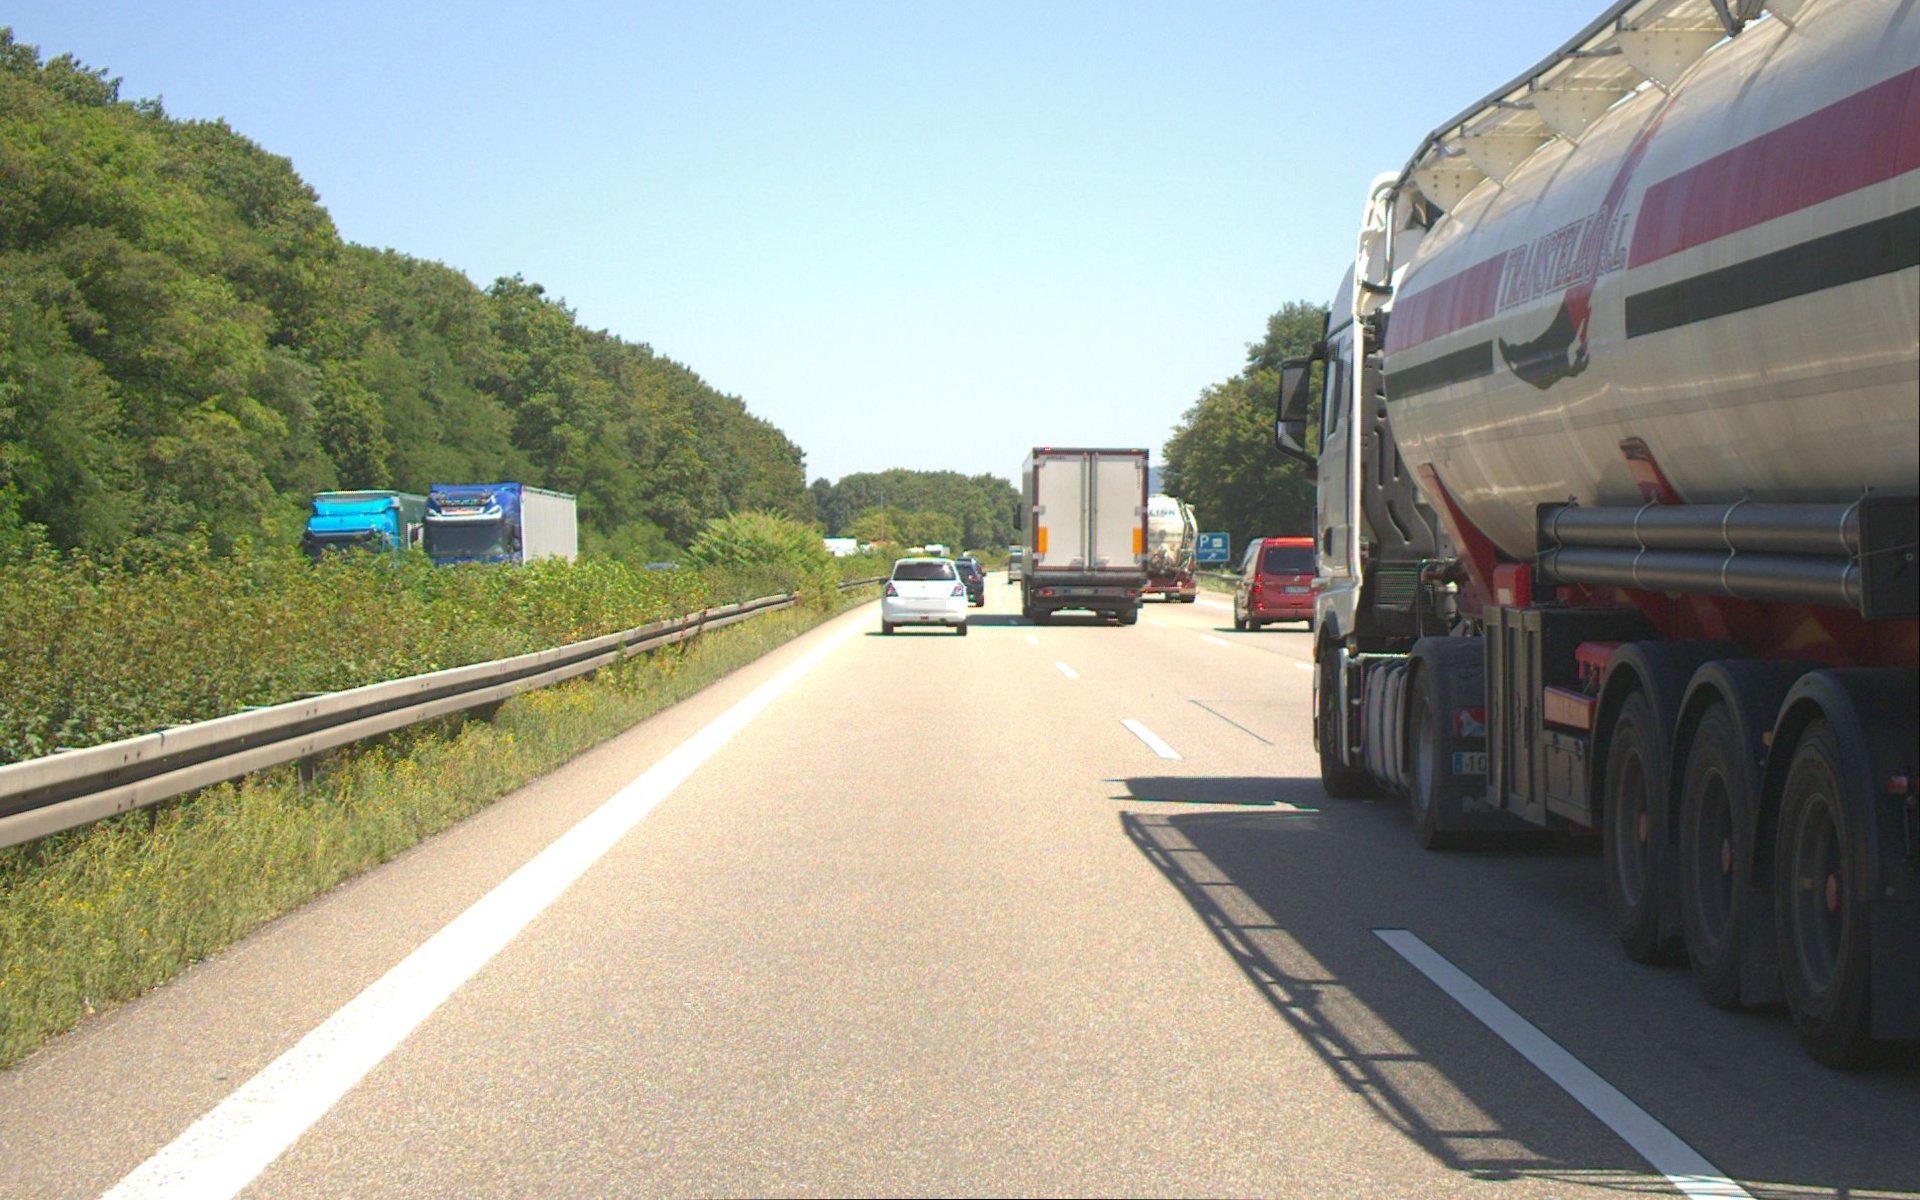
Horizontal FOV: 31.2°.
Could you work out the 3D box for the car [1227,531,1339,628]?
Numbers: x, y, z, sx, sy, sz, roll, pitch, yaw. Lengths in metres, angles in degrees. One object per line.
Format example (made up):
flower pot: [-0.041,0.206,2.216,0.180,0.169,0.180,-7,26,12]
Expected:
car: [6.957,-0.470,74.433,1.856,1.996,5.522,1,1,0]

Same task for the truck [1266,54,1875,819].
truck: [3.584,-0.938,21.409,2.790,4.190,5.000,0,1,-1]

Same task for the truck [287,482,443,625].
truck: [-17.954,-1.425,104.428,3.013,4.100,10.001,0,1,0]

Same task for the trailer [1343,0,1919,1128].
trailer: [3.739,-0.826,13.572,2.790,4.190,12.354,0,1,-1]

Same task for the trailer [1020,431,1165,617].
trailer: [3.138,-1.796,82.899,3.224,4.129,12.351,0,1,2]

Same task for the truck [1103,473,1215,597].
truck: [7.221,-2.370,125.970,3.223,4.330,10.808,0,1,-1]

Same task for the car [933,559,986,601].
car: [-0.024,-0.648,109.429,1.668,1.285,4.000,0,1,0]

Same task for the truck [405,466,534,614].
truck: [-13.667,-1.669,96.139,2.870,3.996,5.000,0,1,0]

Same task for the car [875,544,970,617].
car: [-0.765,-0.401,68.109,1.811,1.400,3.318,0,1,-2]

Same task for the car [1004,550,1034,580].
car: [3.509,-2.108,204.461,1.668,1.759,4.000,0,1,0]
